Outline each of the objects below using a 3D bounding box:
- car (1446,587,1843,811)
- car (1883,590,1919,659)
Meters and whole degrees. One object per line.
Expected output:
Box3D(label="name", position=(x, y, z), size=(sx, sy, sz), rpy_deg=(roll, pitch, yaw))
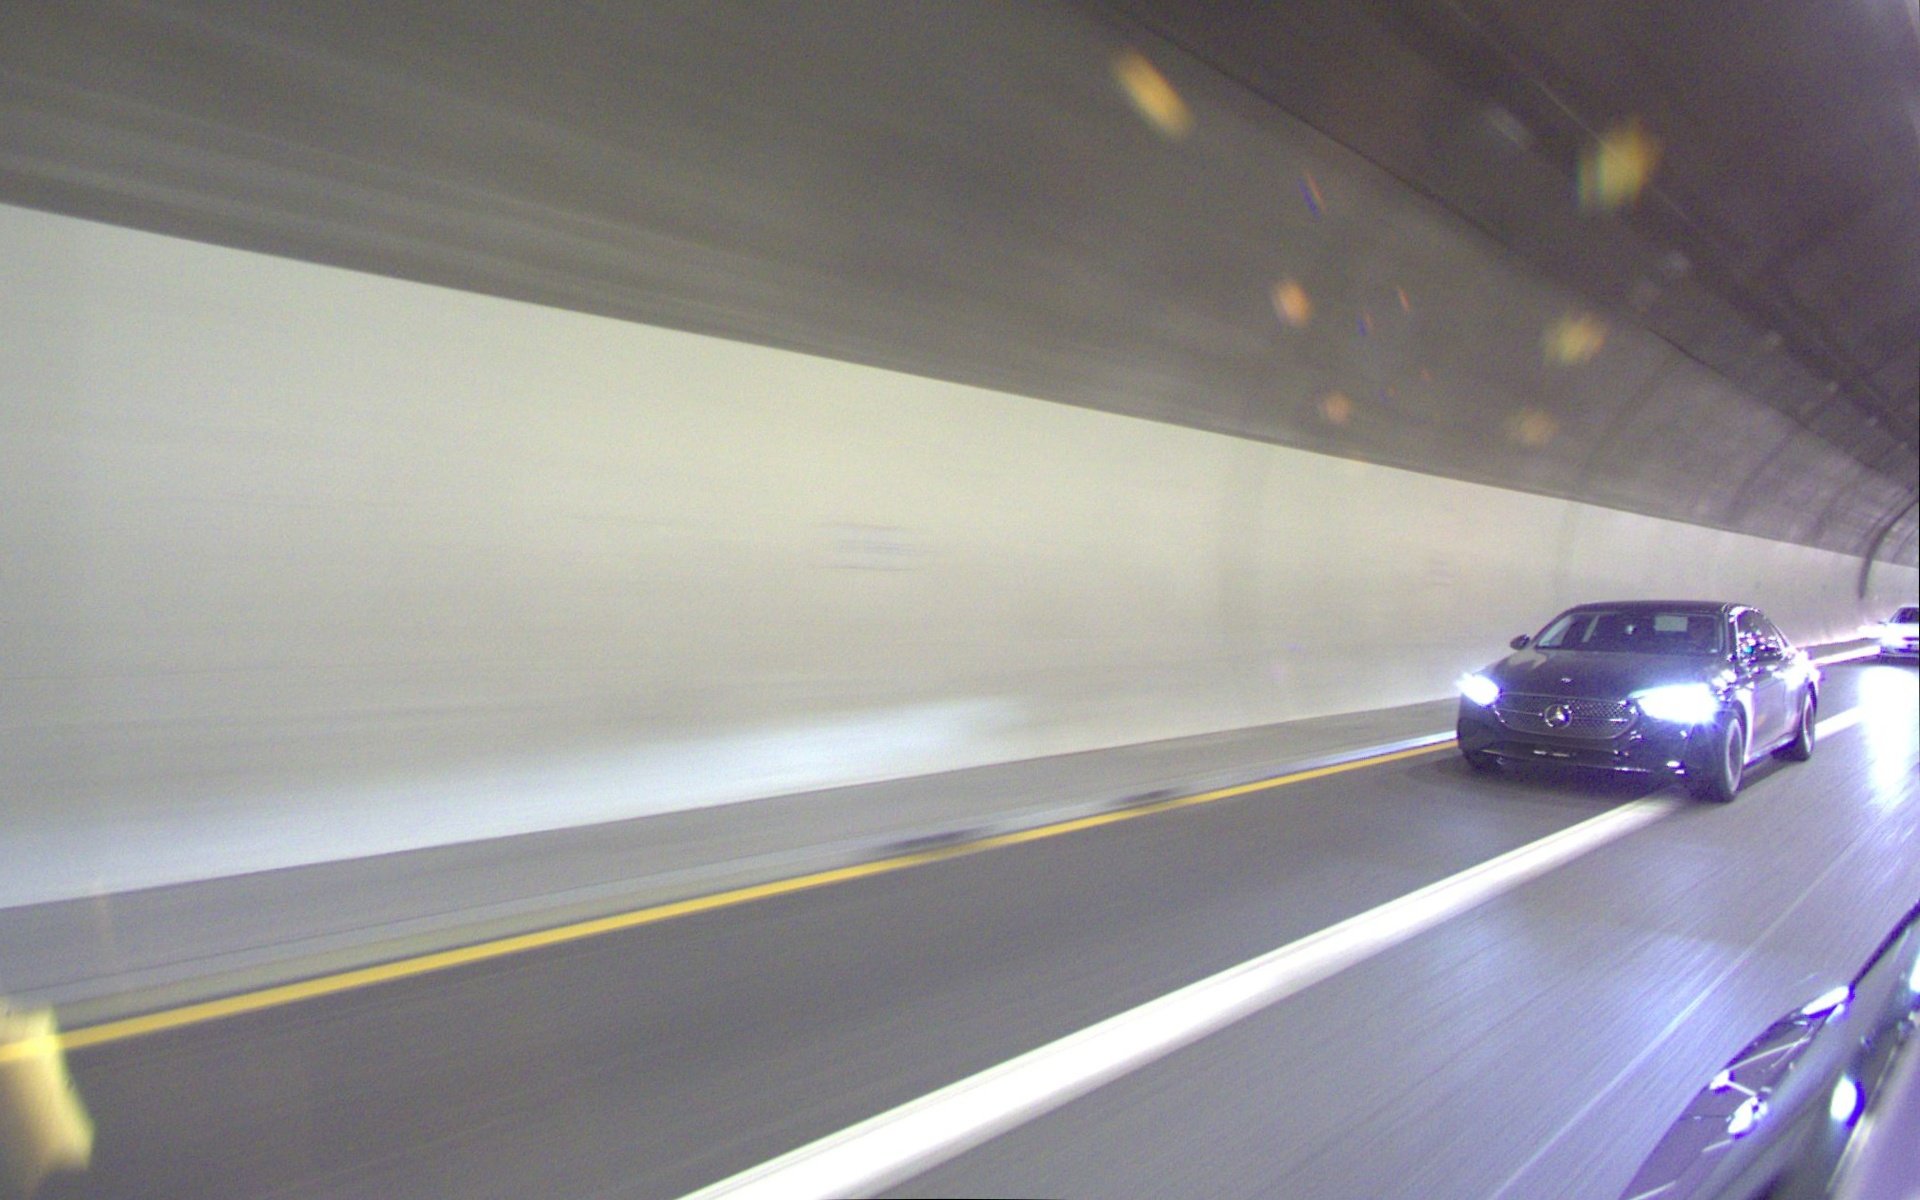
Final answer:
Box3D(label="car", position=(6.192, 0.654, 8.937), size=(4.442, 1.496, 1.824), rpy_deg=(0, 0, -41))
Box3D(label="car", position=(24.039, 0.546, 24.496), size=(4.660, 1.560, 1.997), rpy_deg=(-1, 0, -41))
